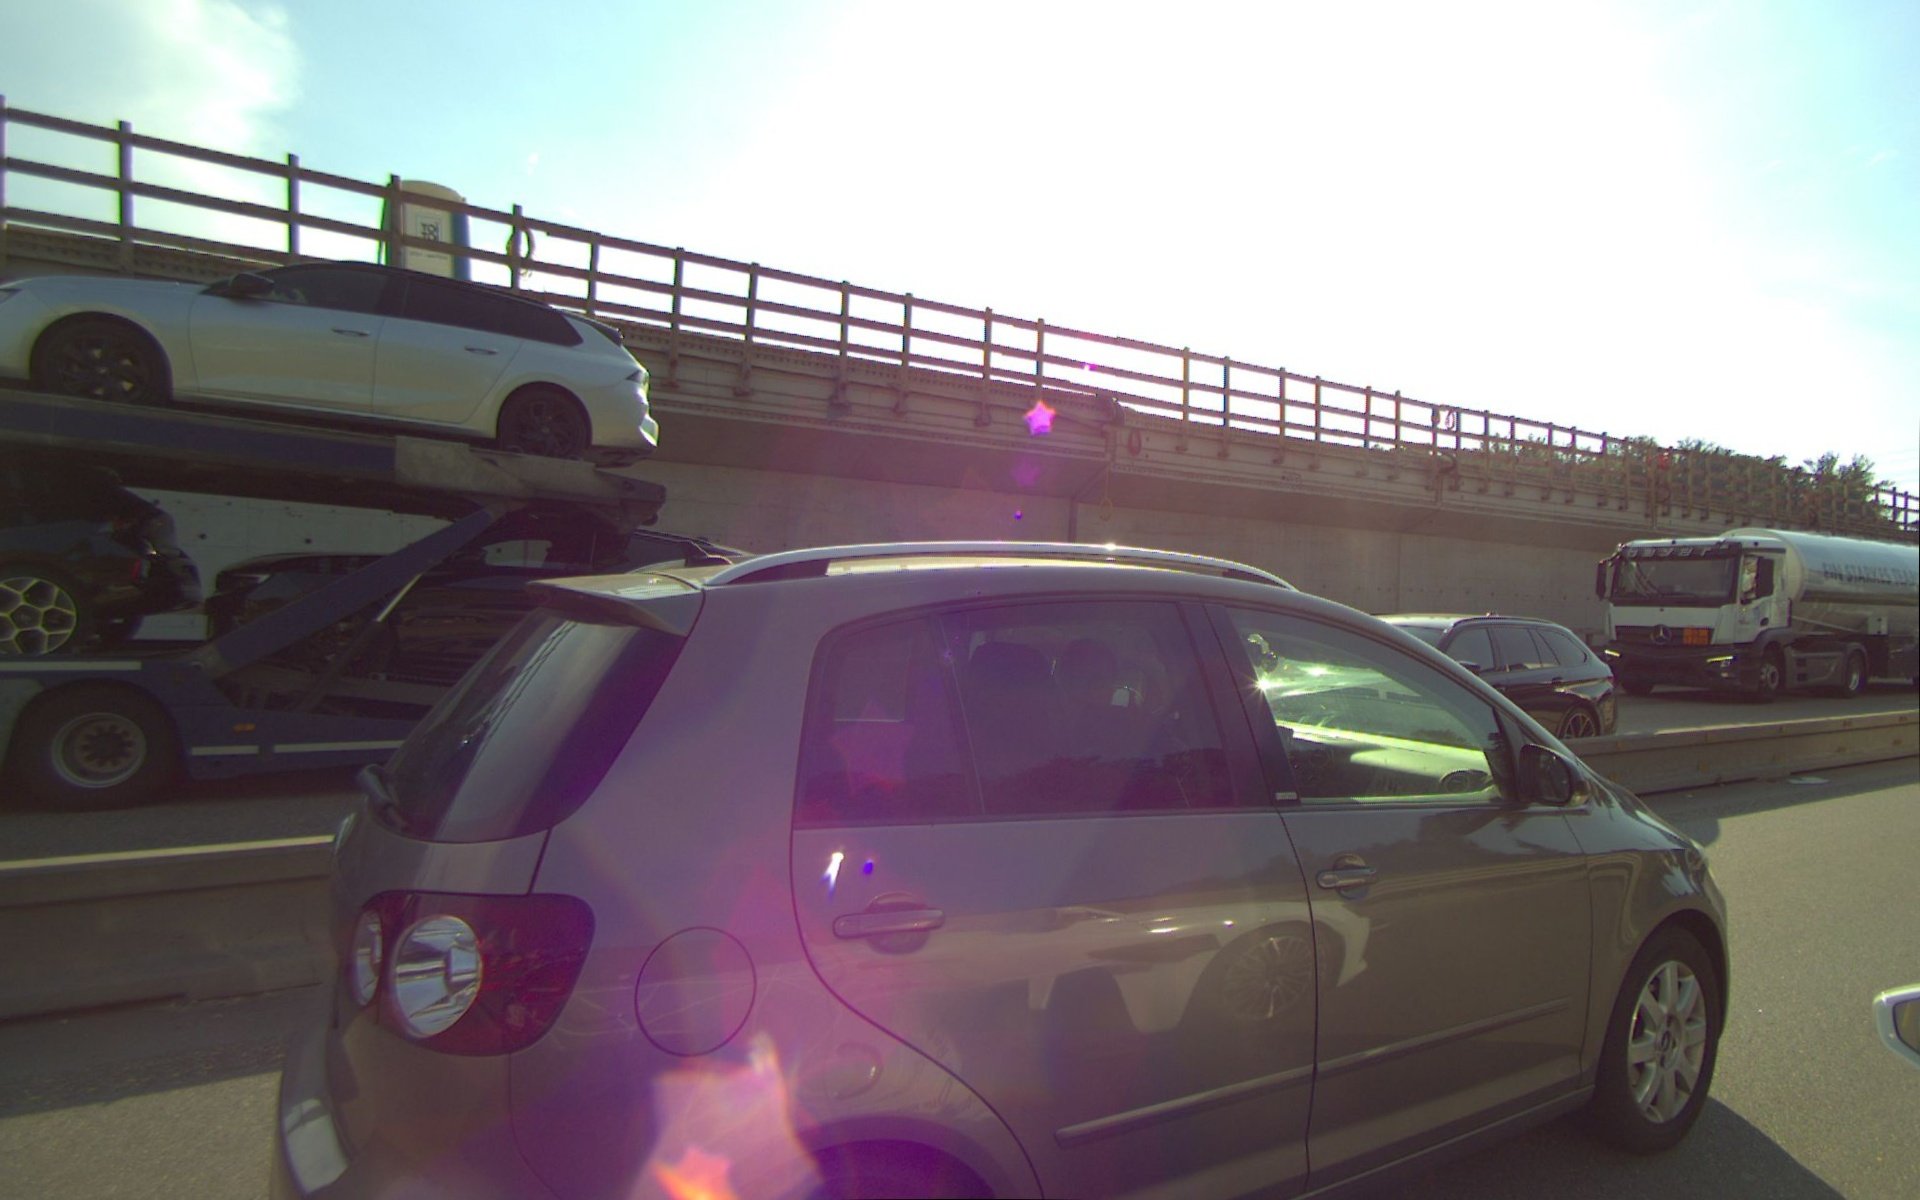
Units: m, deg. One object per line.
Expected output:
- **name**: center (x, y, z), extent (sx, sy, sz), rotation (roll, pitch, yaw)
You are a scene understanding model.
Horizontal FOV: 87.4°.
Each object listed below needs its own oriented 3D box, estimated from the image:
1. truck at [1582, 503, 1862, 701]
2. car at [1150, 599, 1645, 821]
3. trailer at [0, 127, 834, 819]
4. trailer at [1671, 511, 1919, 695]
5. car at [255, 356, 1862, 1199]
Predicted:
- **truck**: center (15.250, 0.116, 20.048), extent (5.468, 3.454, 2.536), rotation (2, 0, -31)
- **car**: center (4.152, 0.871, 9.241), extent (4.783, 1.572, 1.756), rotation (2, 0, -32)
- **trailer**: center (-8.528, -0.850, 5.861), extent (15.580, 4.084, 2.758), rotation (2, 0, -30)
- **trailer**: center (20.564, 0.227, 23.229), extent (10.557, 3.573, 2.544), rotation (2, 0, -30)
- **car**: center (0.658, 0.639, 2.863), extent (4.223, 1.609, 1.672), rotation (3, -1, -31)
